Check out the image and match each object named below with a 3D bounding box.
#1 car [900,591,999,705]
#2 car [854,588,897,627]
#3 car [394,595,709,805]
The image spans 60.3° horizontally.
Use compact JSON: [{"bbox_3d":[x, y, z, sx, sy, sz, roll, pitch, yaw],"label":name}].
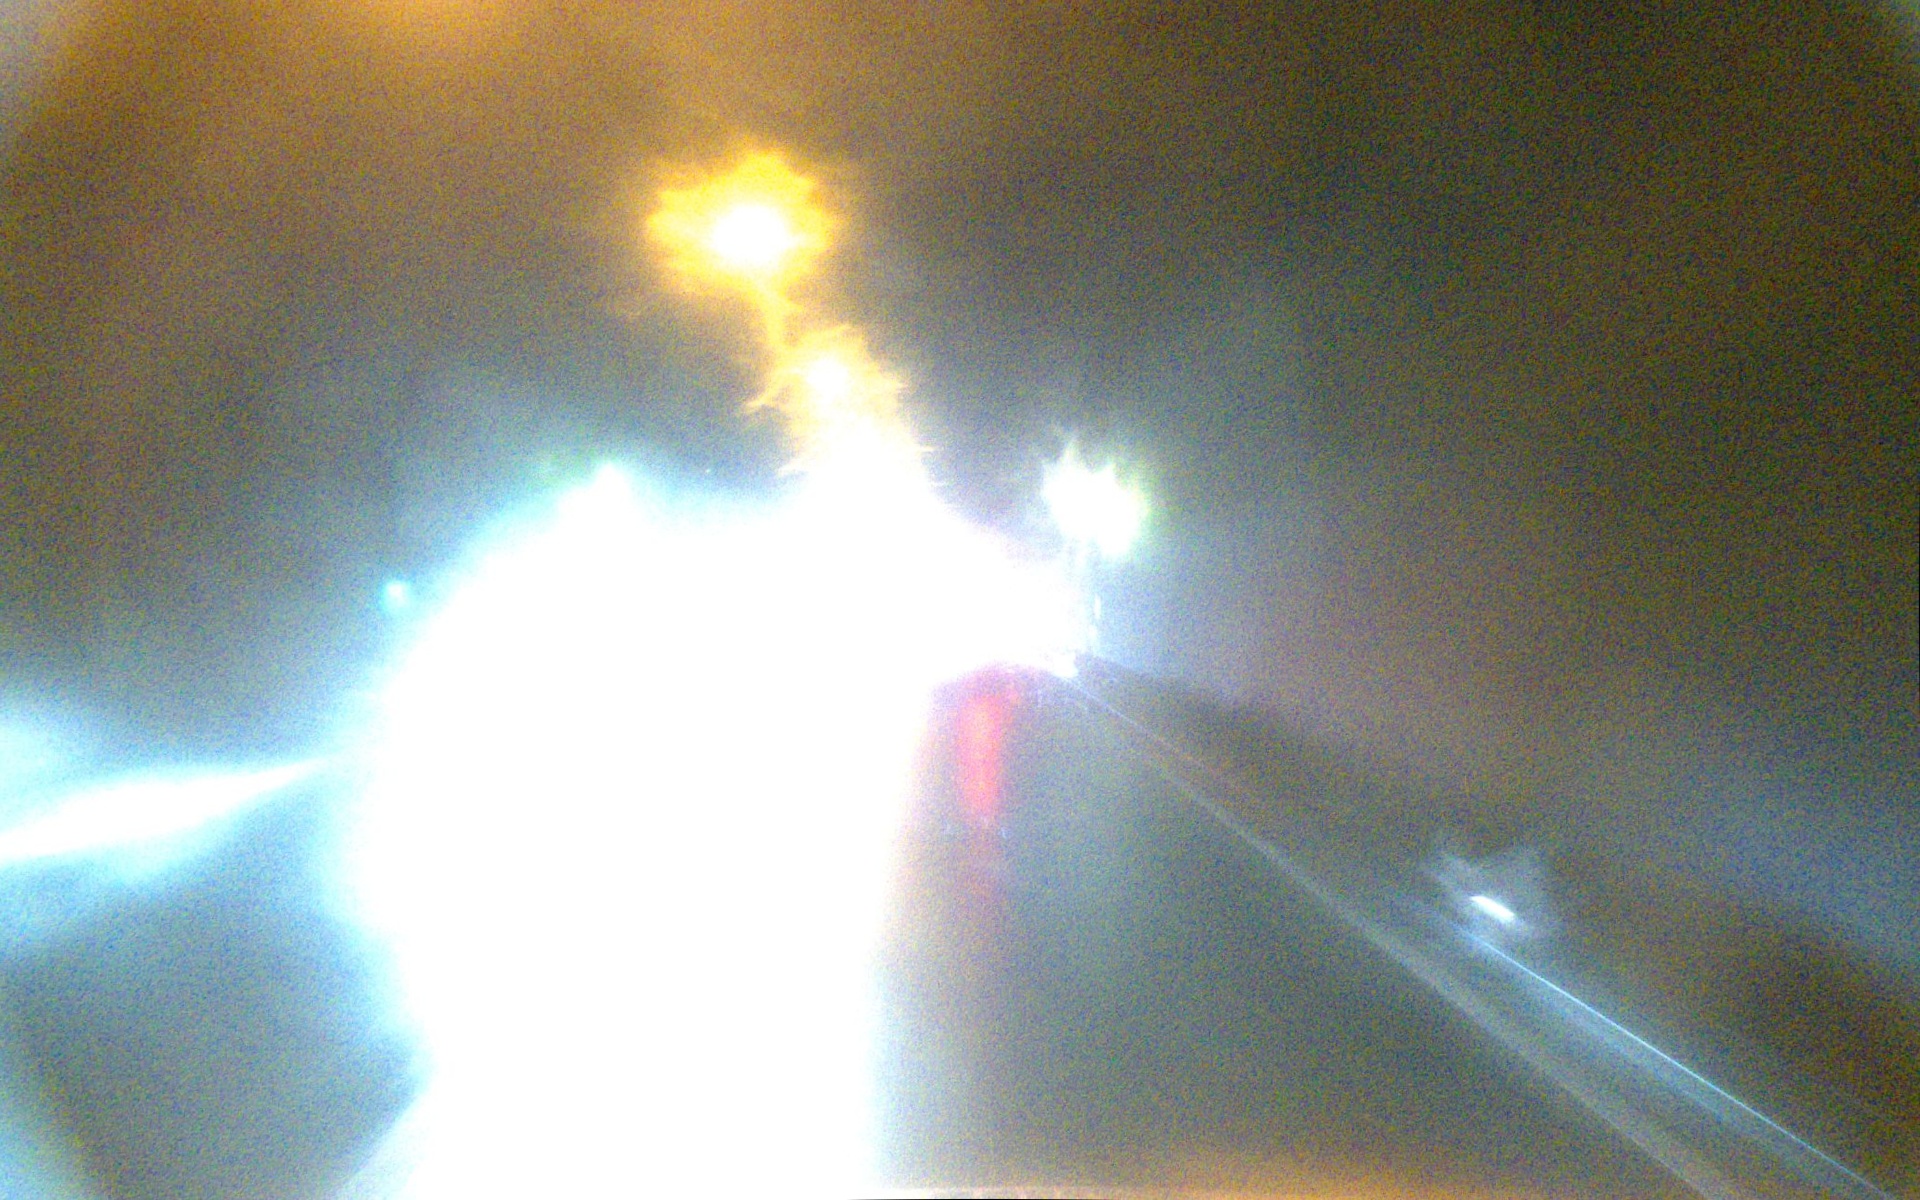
[{"bbox_3d":[-0.152,0.765,28.838,1.601,1.788,4.146,0,1,0],"label":"car"},{"bbox_3d":[-4.551,0.393,89.782,2.166,2.049,4.000,0,1,-1],"label":"car"},{"bbox_3d":[-3.244,0.705,13.974,1.741,1.433,4.292,0,1,-2],"label":"car"}]
